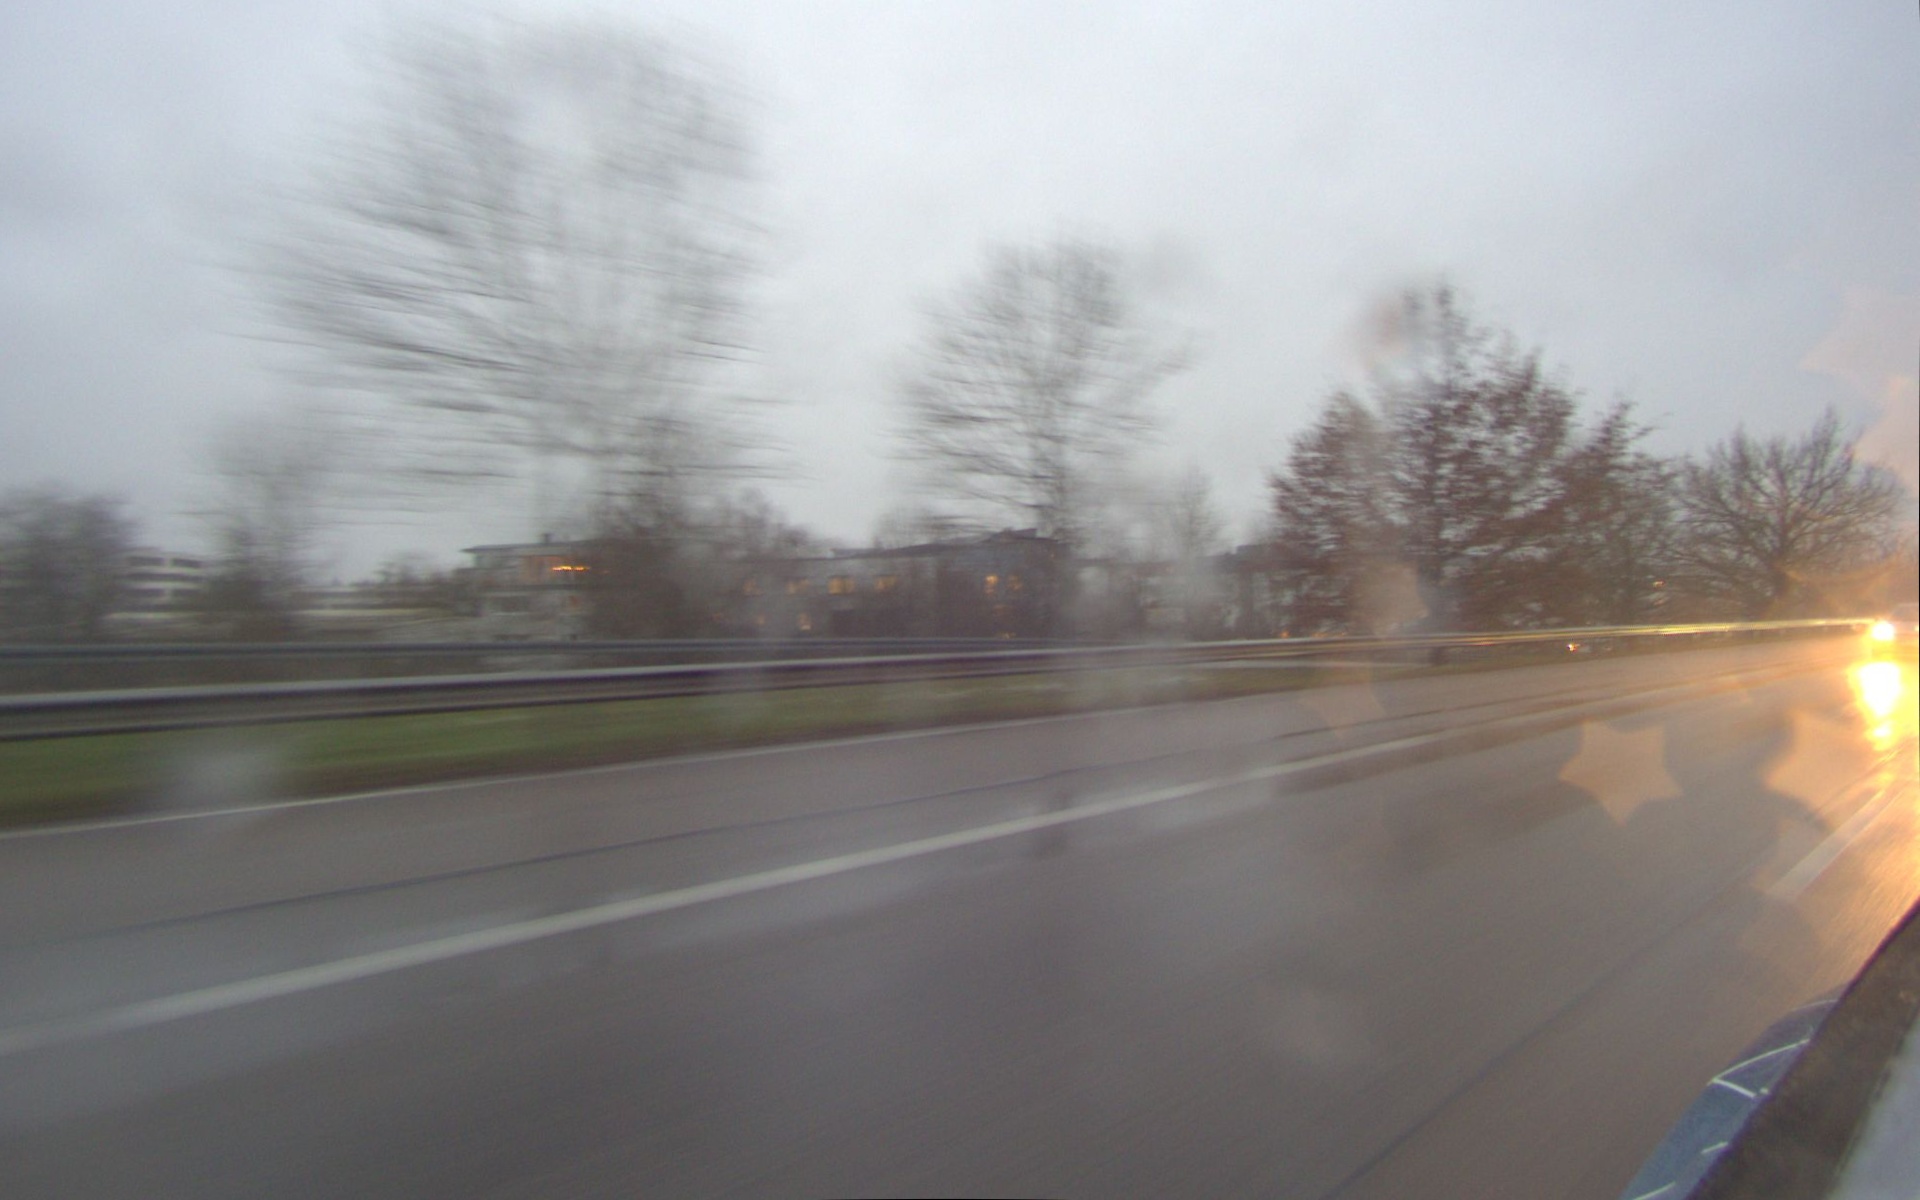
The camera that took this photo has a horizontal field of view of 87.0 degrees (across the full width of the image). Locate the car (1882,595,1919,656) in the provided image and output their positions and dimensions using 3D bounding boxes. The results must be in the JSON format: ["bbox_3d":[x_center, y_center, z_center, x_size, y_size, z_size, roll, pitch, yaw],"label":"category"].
[{"bbox_3d":[26.106,0.670,26.819,4.073,1.549,1.850,1,0,-39],"label":"car"}]
